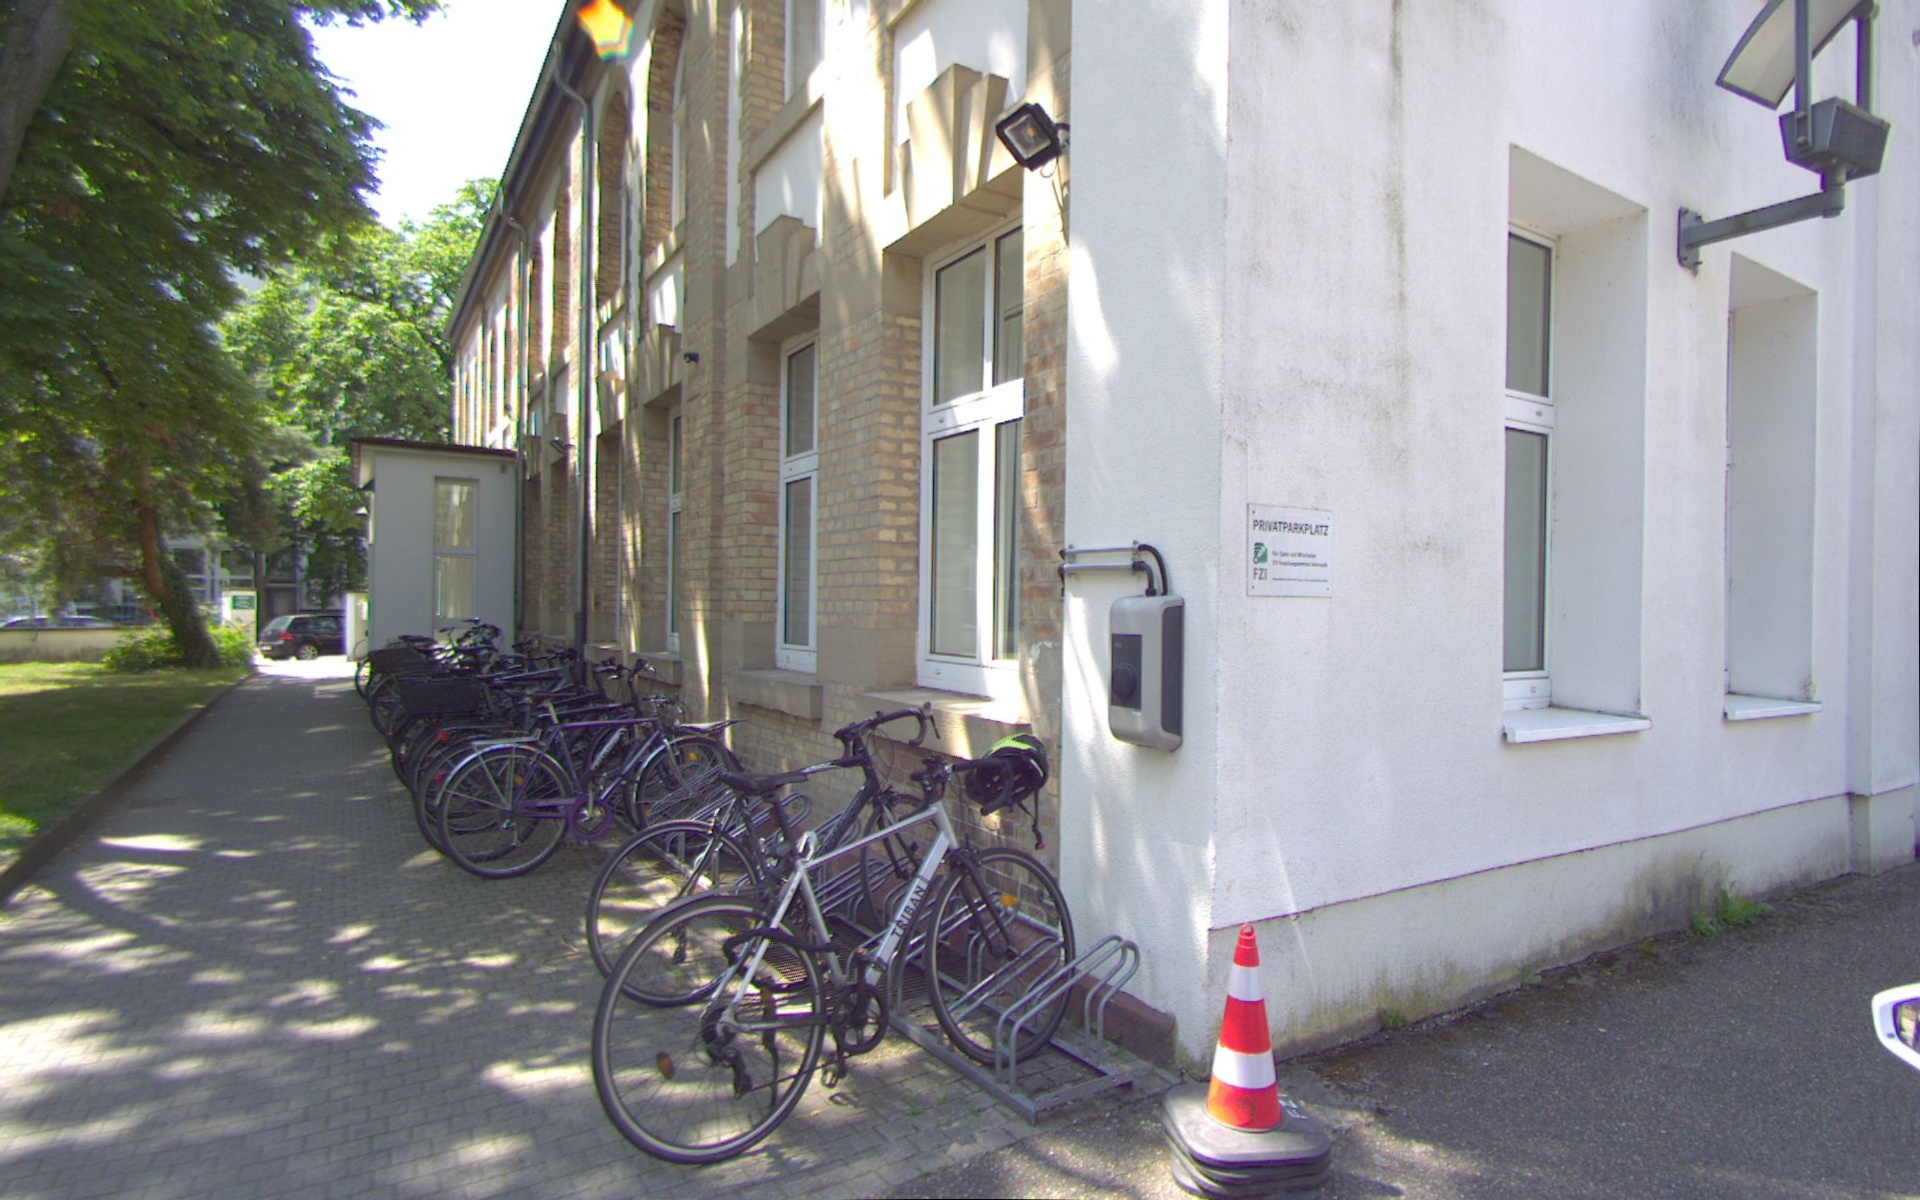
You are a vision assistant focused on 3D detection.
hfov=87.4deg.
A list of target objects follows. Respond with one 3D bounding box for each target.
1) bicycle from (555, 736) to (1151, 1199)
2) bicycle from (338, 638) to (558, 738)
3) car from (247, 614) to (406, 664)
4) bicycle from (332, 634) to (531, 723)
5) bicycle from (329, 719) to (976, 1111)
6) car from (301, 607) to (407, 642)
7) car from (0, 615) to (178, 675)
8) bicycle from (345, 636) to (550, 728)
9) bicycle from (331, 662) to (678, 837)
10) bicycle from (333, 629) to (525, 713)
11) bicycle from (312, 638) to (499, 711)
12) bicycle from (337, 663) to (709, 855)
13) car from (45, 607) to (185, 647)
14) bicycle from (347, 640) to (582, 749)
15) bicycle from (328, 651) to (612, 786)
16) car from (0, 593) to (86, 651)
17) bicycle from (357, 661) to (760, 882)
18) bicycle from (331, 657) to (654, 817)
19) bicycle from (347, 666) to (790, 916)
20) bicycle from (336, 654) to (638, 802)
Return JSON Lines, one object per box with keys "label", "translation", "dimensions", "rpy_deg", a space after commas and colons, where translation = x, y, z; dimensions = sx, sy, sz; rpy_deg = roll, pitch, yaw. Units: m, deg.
{"label": "bicycle", "translation": [-0.273, 0.987, 3.050], "dimensions": [1.709, 0.971, 0.609], "rpy_deg": [0, 0, -31]}
{"label": "bicycle", "translation": [-5.972, 0.990, 11.822], "dimensions": [2.241, 1.025, 0.600], "rpy_deg": [0, 0, -40]}
{"label": "car", "translation": [-19.656, 1.162, 31.316], "dimensions": [1.919, 1.463, 3.764], "rpy_deg": [-1, -1, 32]}
{"label": "bicycle", "translation": [-6.868, 0.986, 13.149], "dimensions": [2.241, 1.025, 0.563], "rpy_deg": [0, 0, -40]}
{"label": "bicycle", "translation": [-1.046, 1.025, 3.789], "dimensions": [2.233, 0.971, 0.602], "rpy_deg": [0, 0, -31]}
{"label": "car", "translation": [-28.774, 1.181, 47.830], "dimensions": [3.936, 1.405, 1.744], "rpy_deg": [3, 1, -17]}
{"label": "car", "translation": [-22.866, 1.101, 25.713], "dimensions": [1.852, 1.437, 4.141], "rpy_deg": [-1, -1, 32]}
{"label": "bicycle", "translation": [-6.426, 0.993, 12.690], "dimensions": [2.241, 1.025, 0.600], "rpy_deg": [0, 0, -40]}
{"label": "bicycle", "translation": [-3.248, 1.010, 7.319], "dimensions": [2.238, 1.025, 0.601], "rpy_deg": [0, 0, -36]}
{"label": "bicycle", "translation": [-7.203, 0.923, 13.717], "dimensions": [2.241, 1.025, 0.625], "rpy_deg": [0, 0, -40]}
{"label": "bicycle", "translation": [-7.827, 1.026, 14.256], "dimensions": [2.241, 0.902, 0.648], "rpy_deg": [0, 0, -40]}
{"label": "bicycle", "translation": [-2.873, 0.989, 6.787], "dimensions": [2.238, 1.025, 0.601], "rpy_deg": [0, 0, -36]}
{"label": "car", "translation": [-32.902, 1.041, 39.206], "dimensions": [3.923, 1.506, 1.670], "rpy_deg": [1, -1, -4]}
{"label": "bicycle", "translation": [-5.345, 0.980, 10.932], "dimensions": [2.238, 1.025, 0.601], "rpy_deg": [0, 0, -36]}
{"label": "bicycle", "translation": [-4.360, 1.008, 9.057], "dimensions": [2.238, 1.025, 0.601], "rpy_deg": [0, 0, -36]}
{"label": "car", "translation": [-34.751, 0.767, 36.194], "dimensions": [4.545, 2.040, 1.998], "rpy_deg": [1, -1, -8]}
{"label": "bicycle", "translation": [-2.407, 0.966, 6.195], "dimensions": [2.233, 1.096, 0.602], "rpy_deg": [0, 0, -31]}
{"label": "bicycle", "translation": [-3.601, 1.005, 7.880], "dimensions": [2.238, 1.025, 0.601], "rpy_deg": [0, 0, -36]}
{"label": "bicycle", "translation": [-2.113, 0.966, 5.628], "dimensions": [2.233, 1.096, 0.602], "rpy_deg": [0, 0, -31]}
{"label": "bicycle", "translation": [-3.917, 1.012, 8.447], "dimensions": [2.238, 1.025, 0.601], "rpy_deg": [0, 0, -36]}
